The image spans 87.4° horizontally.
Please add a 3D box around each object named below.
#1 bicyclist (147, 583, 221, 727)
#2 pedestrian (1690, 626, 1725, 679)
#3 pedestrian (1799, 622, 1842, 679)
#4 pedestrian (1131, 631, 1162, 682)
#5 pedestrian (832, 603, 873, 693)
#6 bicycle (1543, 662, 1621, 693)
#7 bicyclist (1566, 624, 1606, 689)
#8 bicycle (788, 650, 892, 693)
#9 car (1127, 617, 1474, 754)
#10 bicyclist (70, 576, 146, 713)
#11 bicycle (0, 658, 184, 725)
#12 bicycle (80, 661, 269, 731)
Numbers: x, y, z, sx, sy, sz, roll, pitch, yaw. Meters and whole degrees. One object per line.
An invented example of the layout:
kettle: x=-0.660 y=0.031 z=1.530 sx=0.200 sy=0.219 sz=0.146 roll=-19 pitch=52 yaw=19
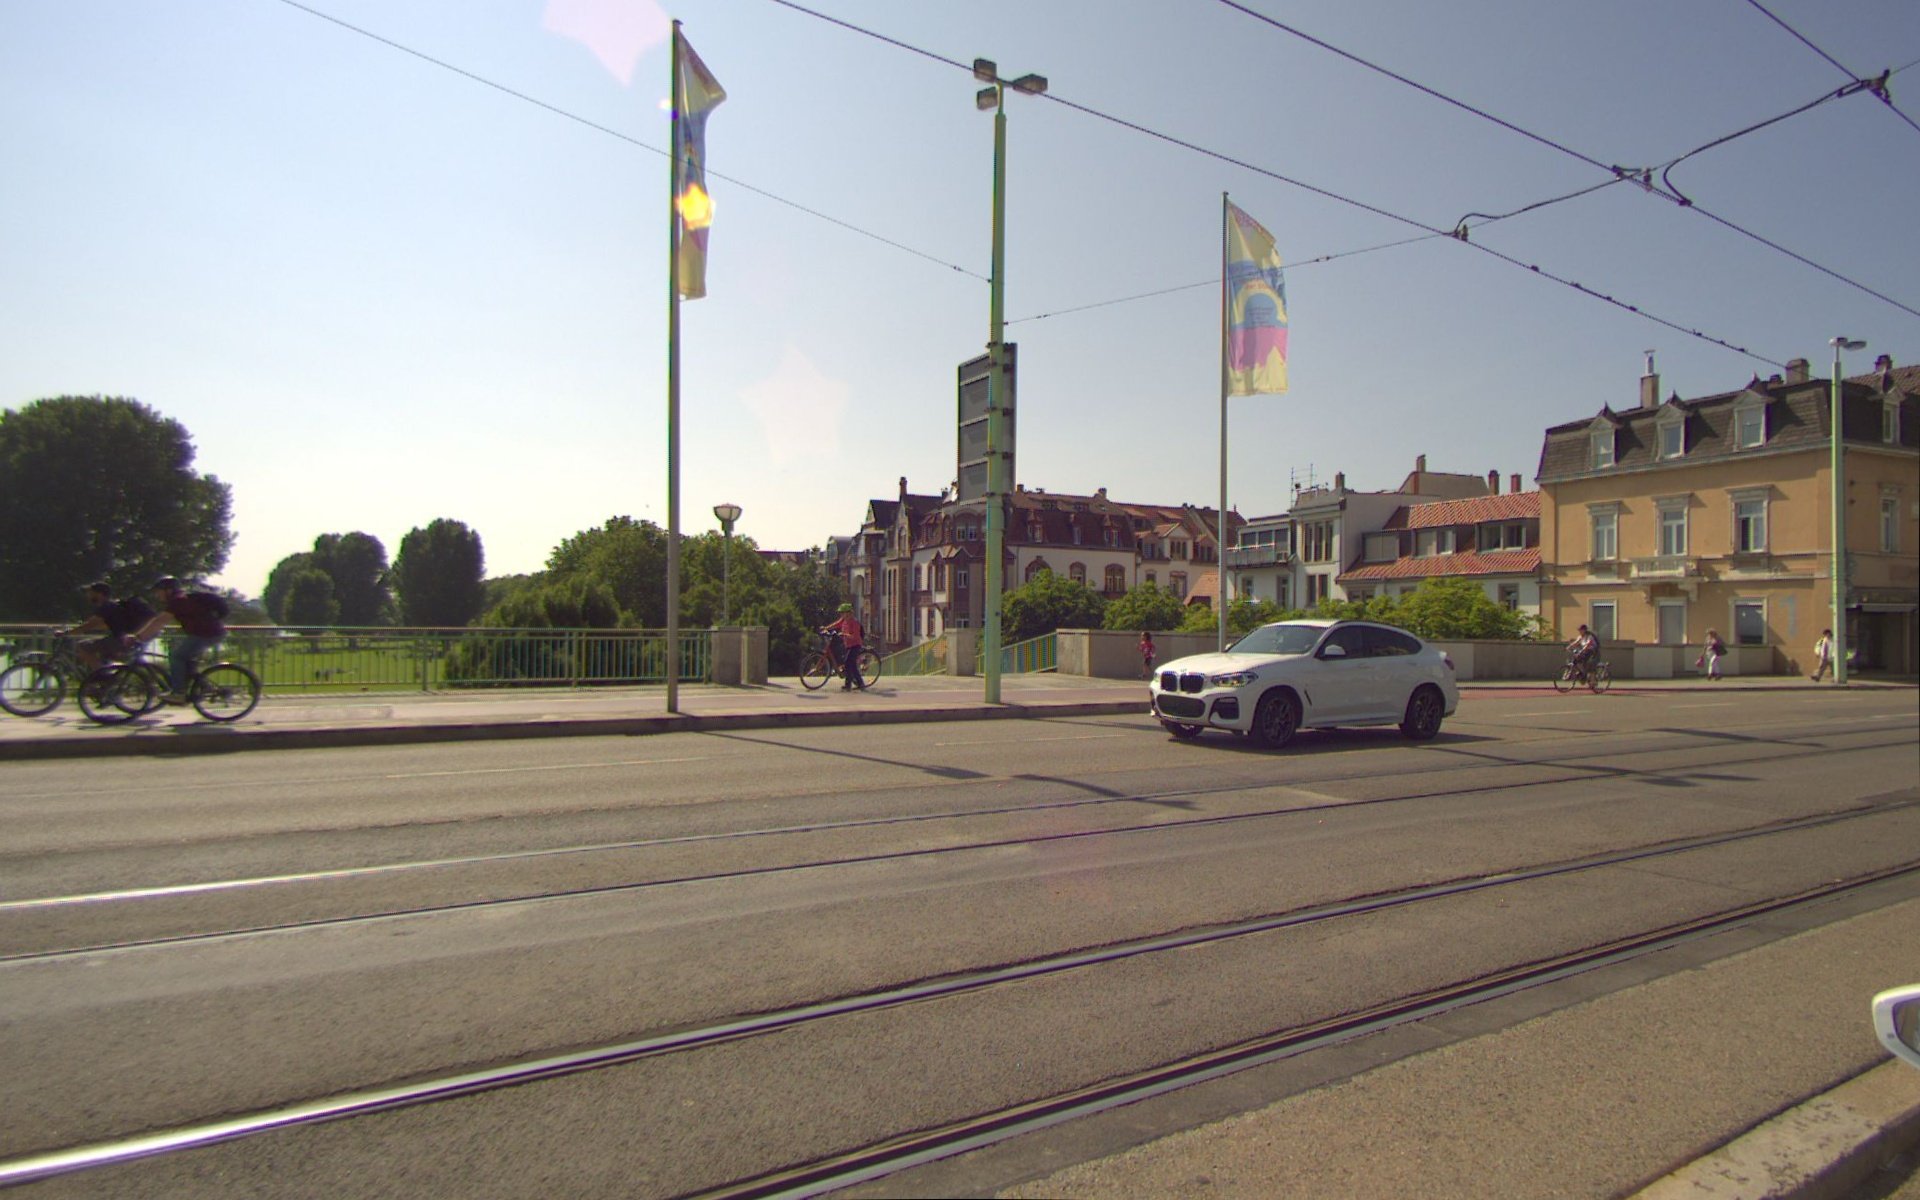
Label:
bicyclist: x=-9.373 y=0.642 z=12.157 sx=0.614 sy=1.672 sz=0.624 roll=0 pitch=1 yaw=-29
pedestrian: x=24.260 y=1.700 z=32.592 sx=0.559 sy=1.624 sz=0.646 roll=-1 pitch=4 yaw=-29
pedestrian: x=28.231 y=1.664 z=32.948 sx=0.777 sy=1.790 sz=0.733 roll=1 pitch=3 yaw=-29
pedestrian: x=4.384 y=1.324 z=23.628 sx=0.535 sy=1.161 sz=0.412 roll=2 pitch=3 yaw=-15
pedestrian: x=-2.011 y=0.888 z=18.803 sx=0.620 sy=1.654 sz=0.410 roll=1 pitch=1 yaw=-31
bicycle: x=16.260 y=2.021 z=26.261 sx=2.014 sy=0.726 sz=0.619 roll=1 pitch=1 yaw=-21
bicyclist: x=16.376 y=1.466 z=26.288 sx=0.612 sy=1.672 sz=0.626 roll=1 pitch=1 yaw=-21
bicycle: x=-2.286 y=1.352 z=19.249 sx=1.912 sy=0.726 sz=0.617 roll=1 pitch=1 yaw=-32
car: x=4.742 y=1.088 z=13.862 sx=4.596 sy=1.607 sz=1.985 roll=2 pitch=-2 yaw=-29
bicyclist: x=-10.728 y=0.536 z=12.668 sx=0.614 sy=1.672 sz=0.624 roll=0 pitch=1 yaw=-29
bicycle: x=-10.887 y=1.126 z=12.596 sx=1.750 sy=0.726 sz=0.617 roll=1 pitch=1 yaw=-30
bicycle: x=-9.423 y=1.132 z=12.136 sx=1.710 sy=0.726 sz=0.617 roll=1 pitch=1 yaw=-30
